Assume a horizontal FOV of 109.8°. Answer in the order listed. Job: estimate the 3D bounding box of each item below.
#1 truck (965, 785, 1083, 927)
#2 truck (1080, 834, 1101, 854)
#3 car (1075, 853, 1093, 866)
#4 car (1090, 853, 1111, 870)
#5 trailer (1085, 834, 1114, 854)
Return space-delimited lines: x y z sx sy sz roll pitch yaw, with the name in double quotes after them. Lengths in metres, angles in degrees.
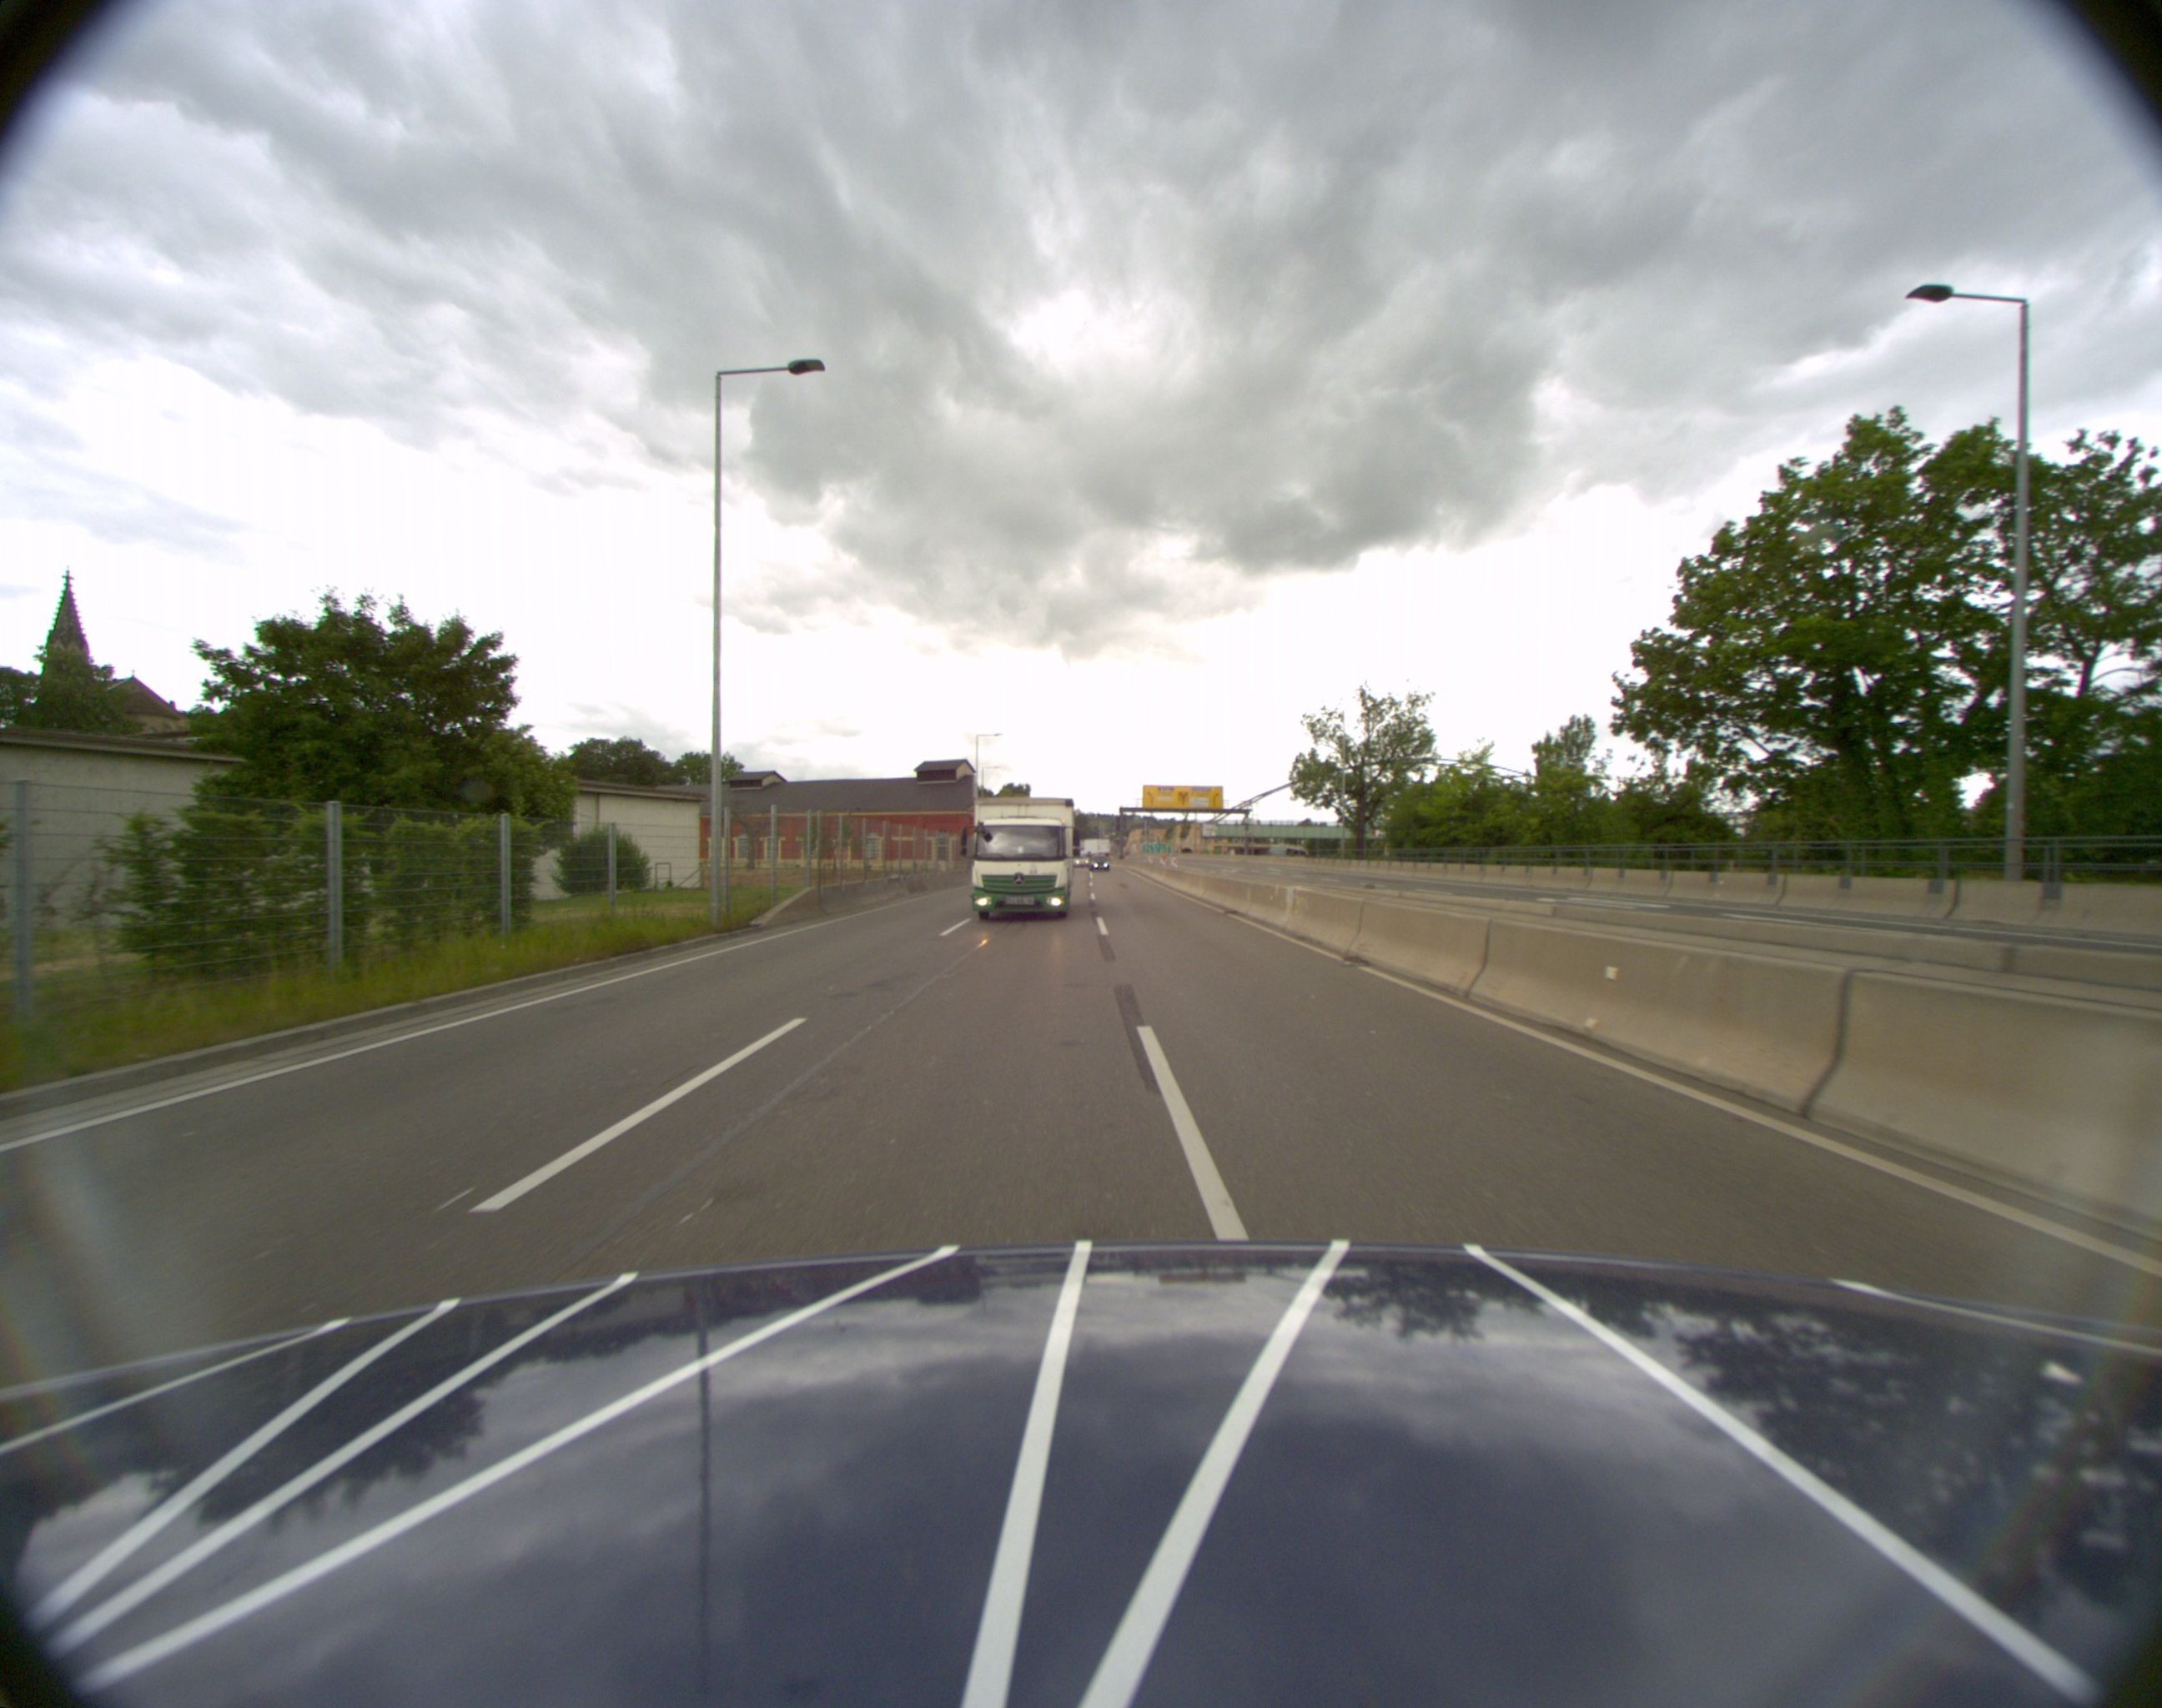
-1.356 0.047 21.544 2.636 3.220 7.415 -2 0 0 "truck"
1.627 -1.621 125.636 2.283 3.096 2.980 -2 1 -27 "truck"
0.292 0.639 88.168 1.825 1.440 3.610 -1 0 -4 "car"
1.766 0.647 68.251 1.824 1.440 3.612 -1 0 2 "car"
2.965 -1.625 123.025 2.282 3.120 5.699 -2 1 -26 "trailer"
